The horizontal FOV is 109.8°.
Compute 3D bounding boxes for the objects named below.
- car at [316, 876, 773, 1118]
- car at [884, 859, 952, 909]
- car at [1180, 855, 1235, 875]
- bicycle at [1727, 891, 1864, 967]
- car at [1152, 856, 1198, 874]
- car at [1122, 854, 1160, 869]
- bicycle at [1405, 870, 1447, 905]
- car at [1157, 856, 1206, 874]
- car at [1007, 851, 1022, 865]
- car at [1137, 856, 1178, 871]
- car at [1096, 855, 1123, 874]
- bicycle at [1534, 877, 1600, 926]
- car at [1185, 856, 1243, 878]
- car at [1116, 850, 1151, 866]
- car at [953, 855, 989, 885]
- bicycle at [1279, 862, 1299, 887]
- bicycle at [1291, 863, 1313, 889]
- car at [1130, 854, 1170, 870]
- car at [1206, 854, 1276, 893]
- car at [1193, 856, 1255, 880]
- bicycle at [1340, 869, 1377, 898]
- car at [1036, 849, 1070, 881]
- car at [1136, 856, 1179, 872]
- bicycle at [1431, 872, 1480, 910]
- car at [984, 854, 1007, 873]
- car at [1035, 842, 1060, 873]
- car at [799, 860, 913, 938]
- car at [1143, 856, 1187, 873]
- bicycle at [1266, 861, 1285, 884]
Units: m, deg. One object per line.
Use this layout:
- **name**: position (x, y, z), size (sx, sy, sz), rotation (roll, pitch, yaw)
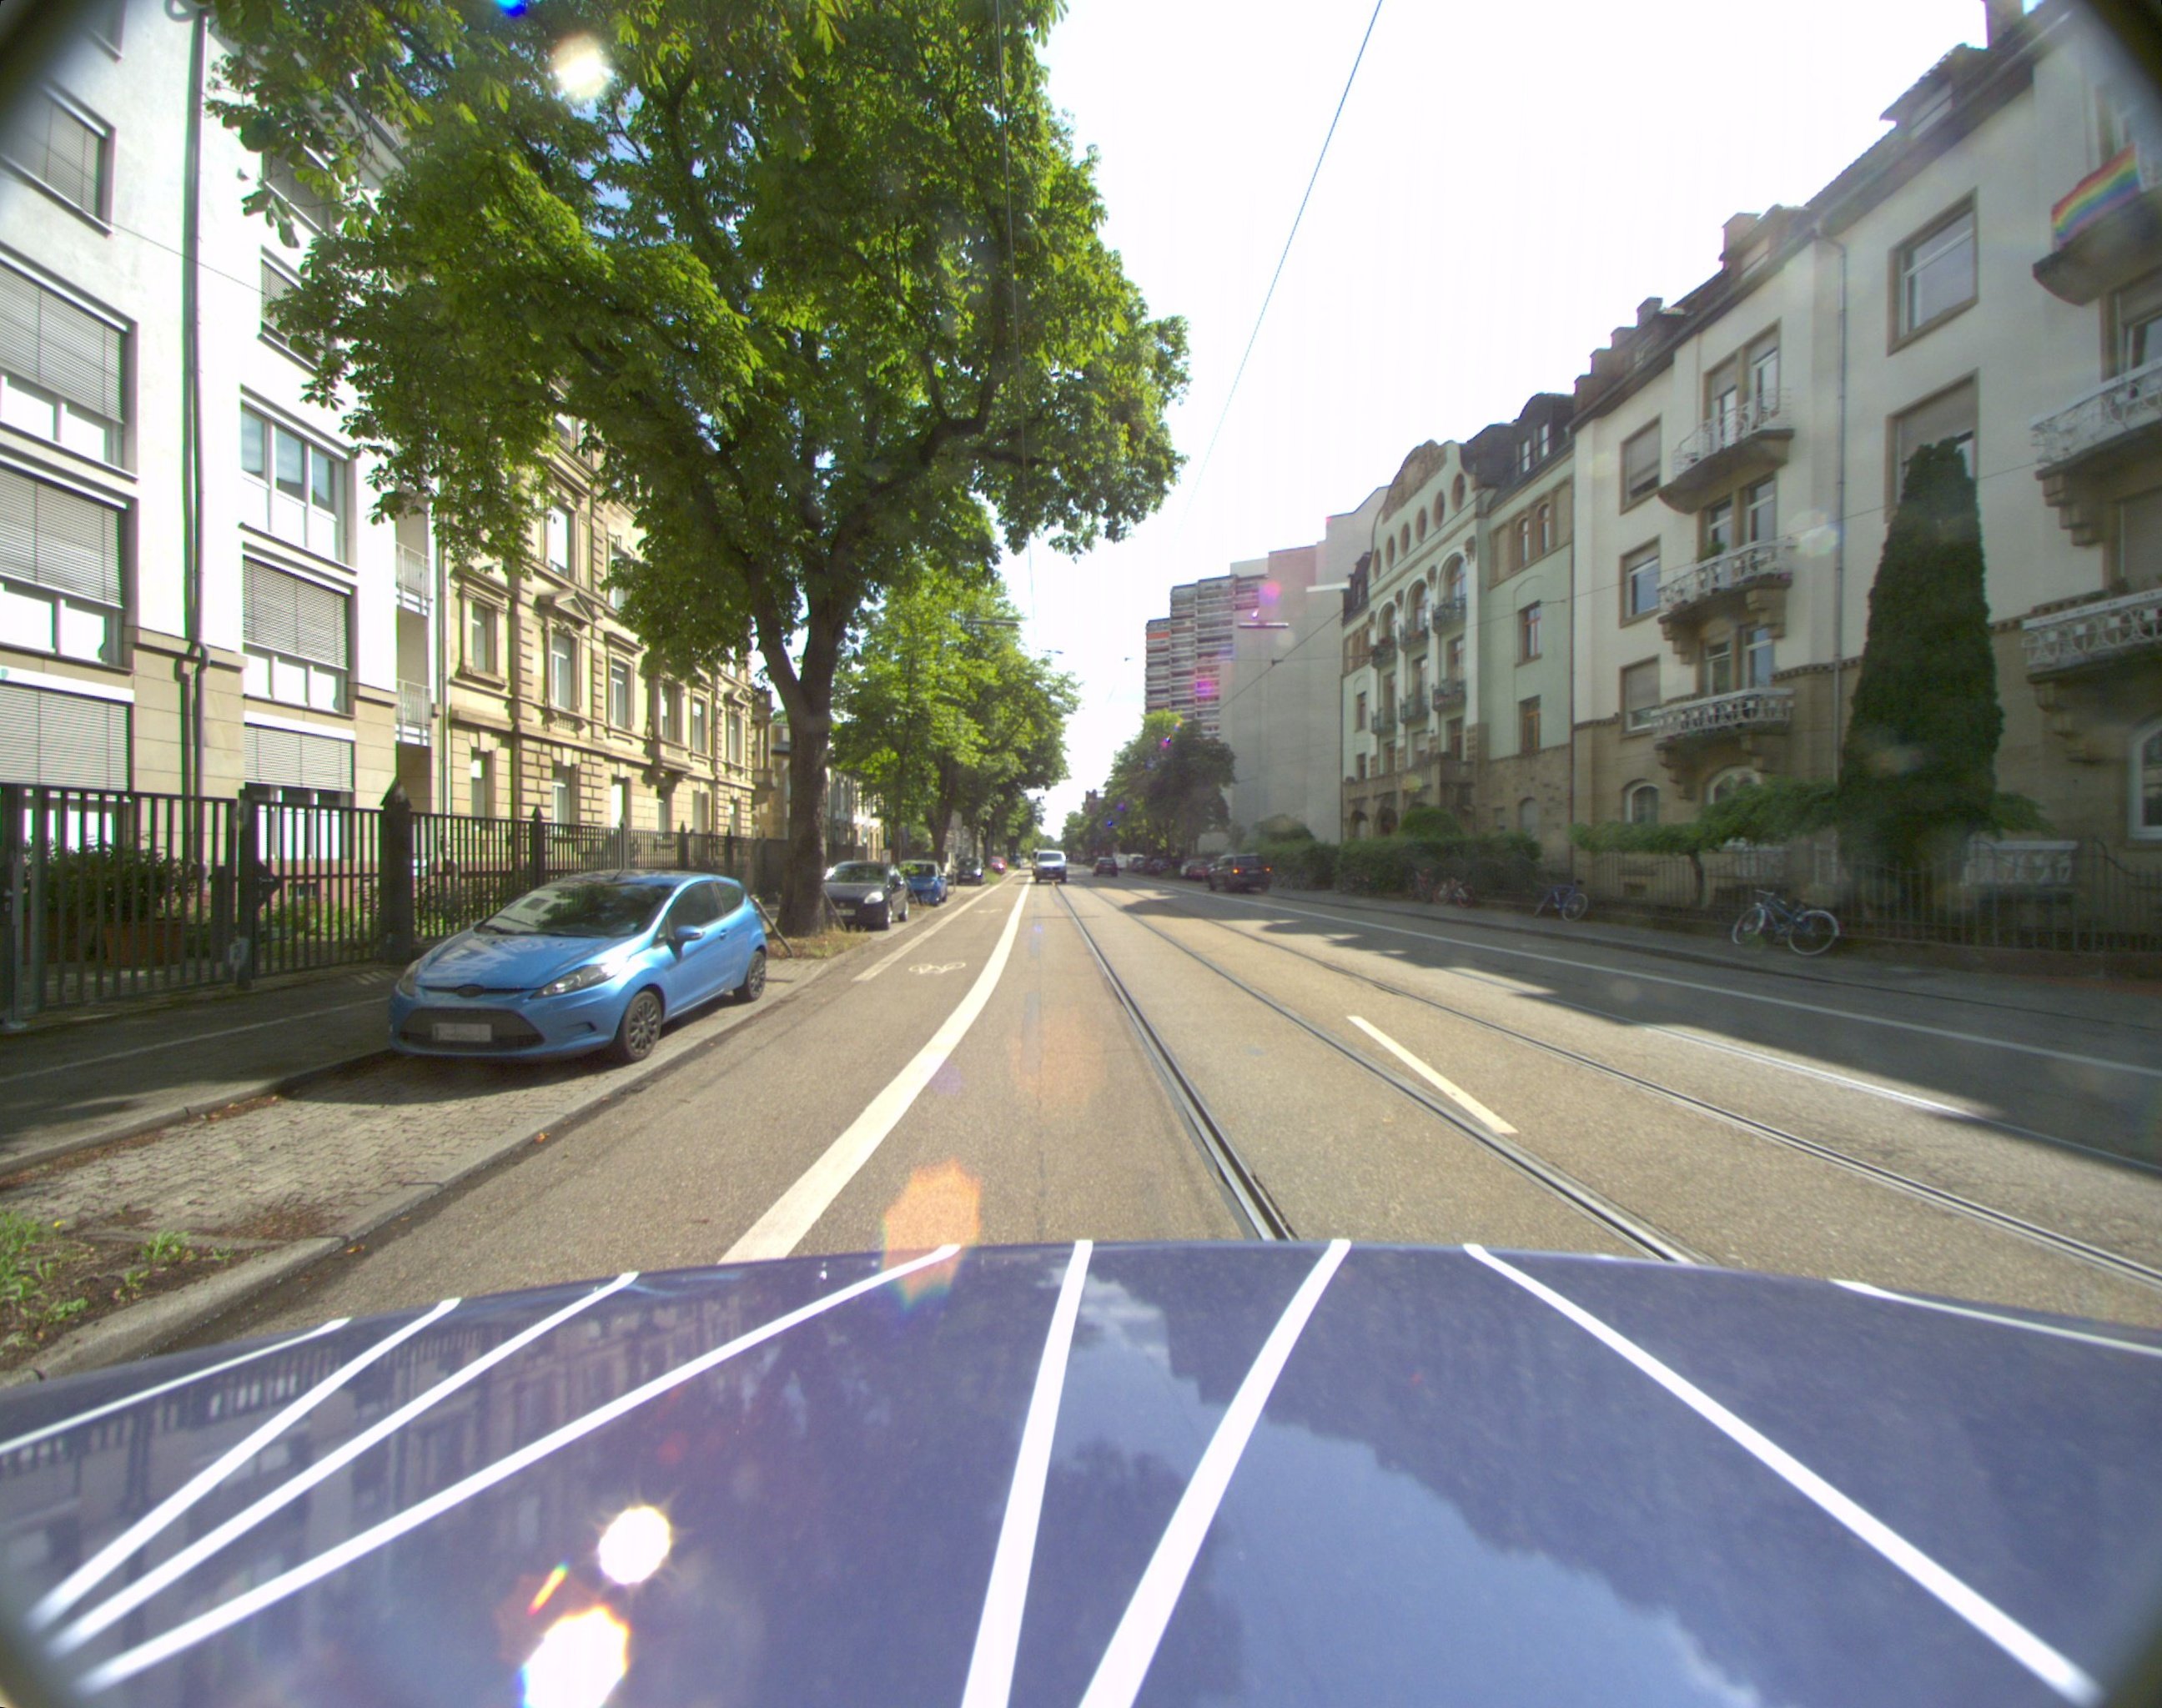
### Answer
- **car**: position (-4.335, 1.021, 6.928), size (1.647, 1.467, 3.660), rotation (3, 0, -3)
- **car**: position (-5.375, 0.949, 25.438), size (1.679, 1.467, 3.659), rotation (3, 0, -4)
- **car**: position (9.534, 0.833, 57.578), size (3.994, 1.499, 2.001), rotation (0, 0, 7)
- **bicycle**: position (11.074, 1.123, 11.876), size (0.467, 0.990, 1.979), rotation (0, 0, 7)
- **car**: position (8.277, 0.939, 66.780), size (3.994, 1.499, 2.001), rotation (0, 0, 7)
- **car**: position (6.669, 0.835, 84.165), size (3.994, 1.672, 2.001), rotation (0, 0, 7)
- **bicycle**: position (10.652, 1.024, 23.502), size (0.468, 0.990, 1.786), rotation (0, 0, -1)
- **car**: position (8.380, 0.929, 63.624), size (3.994, 1.499, 2.001), rotation (0, 0, 7)
- **car**: position (-8.012, 0.458, 91.639), size (1.744, 1.564, 3.928), rotation (3, 0, -4)
- **car**: position (7.683, 0.941, 76.268), size (3.994, 1.499, 2.001), rotation (0, 0, 7)
- **car**: position (2.328, 0.829, 62.941), size (1.761, 1.509, 4.067), rotation (0, 0, -4)
- **bicycle**: position (10.917, 1.046, 17.120), size (0.467, 0.990, 1.787), rotation (0, 0, 5)
- **car**: position (9.406, 0.918, 54.030), size (3.994, 1.499, 2.001), rotation (0, 0, 7)
- **car**: position (6.239, 0.491, 89.998), size (1.994, 1.740, 4.008), rotation (-1, 1, 41)
- **car**: position (-6.313, 0.907, 44.013), size (1.744, 1.564, 3.659), rotation (3, 0, -4)
- **bicycle**: position (10.004, 0.980, 36.640), size (0.468, 1.128, 1.786), rotation (0, 0, -1)
- **bicycle**: position (10.090, 1.002, 34.698), size (0.468, 1.128, 1.786), rotation (0, 0, -1)
- **car**: position (7.260, 0.857, 79.740), size (3.994, 1.672, 2.001), rotation (0, 0, 7)
- **car**: position (7.188, 0.829, 34.553), size (1.922, 1.685, 4.400), rotation (0, 0, -5)
- **car**: position (9.447, 0.912, 50.522), size (3.994, 1.499, 2.001), rotation (0, 0, 7)
- **bicycle**: position (10.056, 1.053, 27.588), size (0.605, 0.990, 1.981), rotation (0, 0, -1)
- **car**: position (-1.748, 0.631, 47.235), size (1.974, 1.901, 4.816), rotation (0, 0, -2)
- **car**: position (7.361, 0.945, 73.107), size (3.994, 1.499, 2.001), rotation (0, 0, 7)
- **bicycle**: position (10.618, 1.031, 21.604), size (0.468, 0.990, 1.786), rotation (0, 0, -1)
- **car**: position (-7.491, 0.820, 66.967), size (1.744, 1.564, 3.928), rotation (3, 0, -4)
- **car**: position (-2.925, 0.289, 66.490), size (2.147, 2.568, 4.816), rotation (0, 0, -2)
- **car**: position (-4.950, 0.936, 17.225), size (1.679, 1.467, 3.659), rotation (3, 0, -4)
- **car**: position (7.773, 0.974, 69.898), size (3.994, 1.499, 2.001), rotation (0, 0, 7)
- **bicycle**: position (9.900, 0.934, 38.737), size (0.468, 1.128, 1.786), rotation (0, 0, -1)
